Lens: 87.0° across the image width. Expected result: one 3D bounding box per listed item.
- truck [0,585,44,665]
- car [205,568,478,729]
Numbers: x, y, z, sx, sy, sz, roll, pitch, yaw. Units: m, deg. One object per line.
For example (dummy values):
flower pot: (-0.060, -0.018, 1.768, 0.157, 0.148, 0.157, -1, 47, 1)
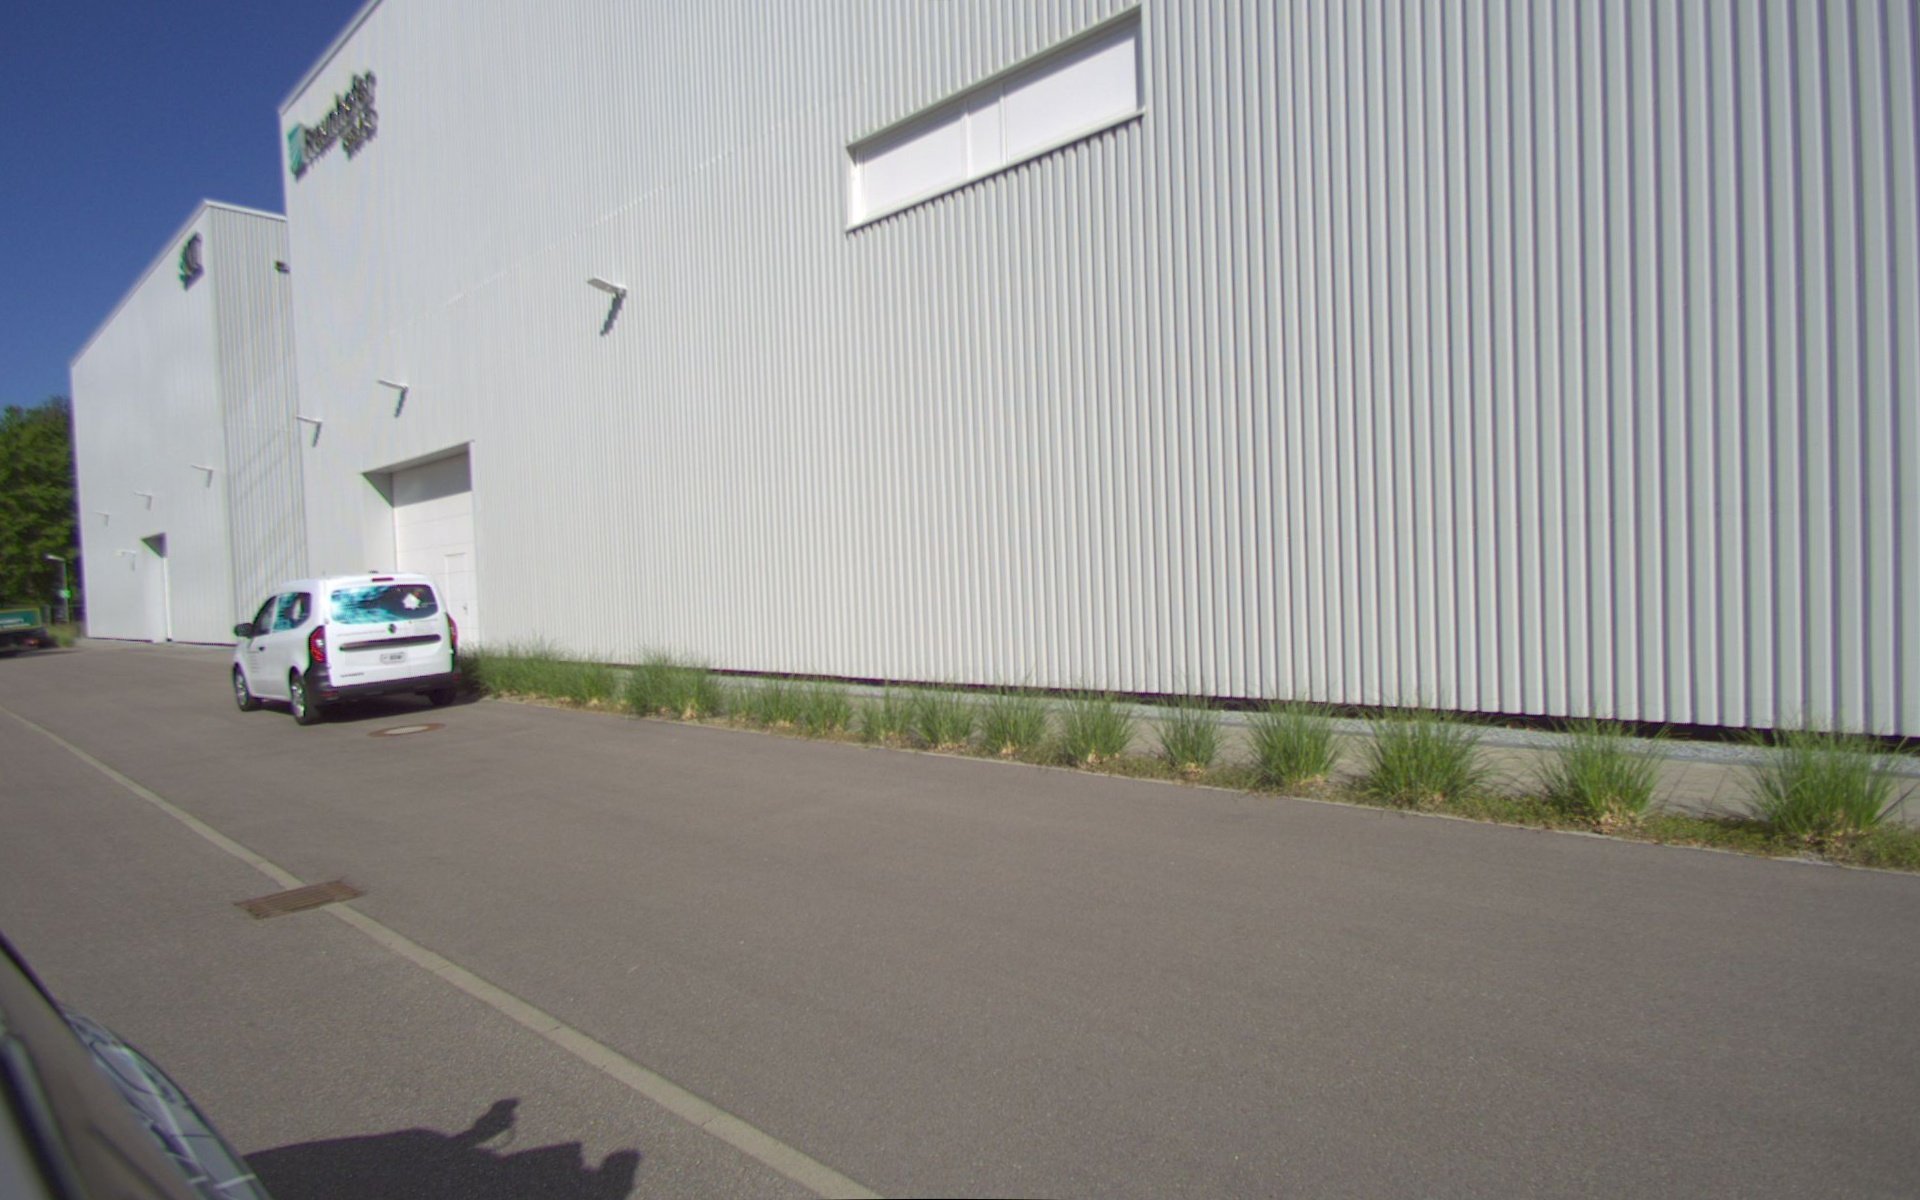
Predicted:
truck: (-37.952, 1.098, 37.773, 9.655, 2.736, 2.564, -2, 3, 30)
car: (-8.632, 0.589, 13.947, 4.596, 1.803, 1.908, -2, 2, 42)
